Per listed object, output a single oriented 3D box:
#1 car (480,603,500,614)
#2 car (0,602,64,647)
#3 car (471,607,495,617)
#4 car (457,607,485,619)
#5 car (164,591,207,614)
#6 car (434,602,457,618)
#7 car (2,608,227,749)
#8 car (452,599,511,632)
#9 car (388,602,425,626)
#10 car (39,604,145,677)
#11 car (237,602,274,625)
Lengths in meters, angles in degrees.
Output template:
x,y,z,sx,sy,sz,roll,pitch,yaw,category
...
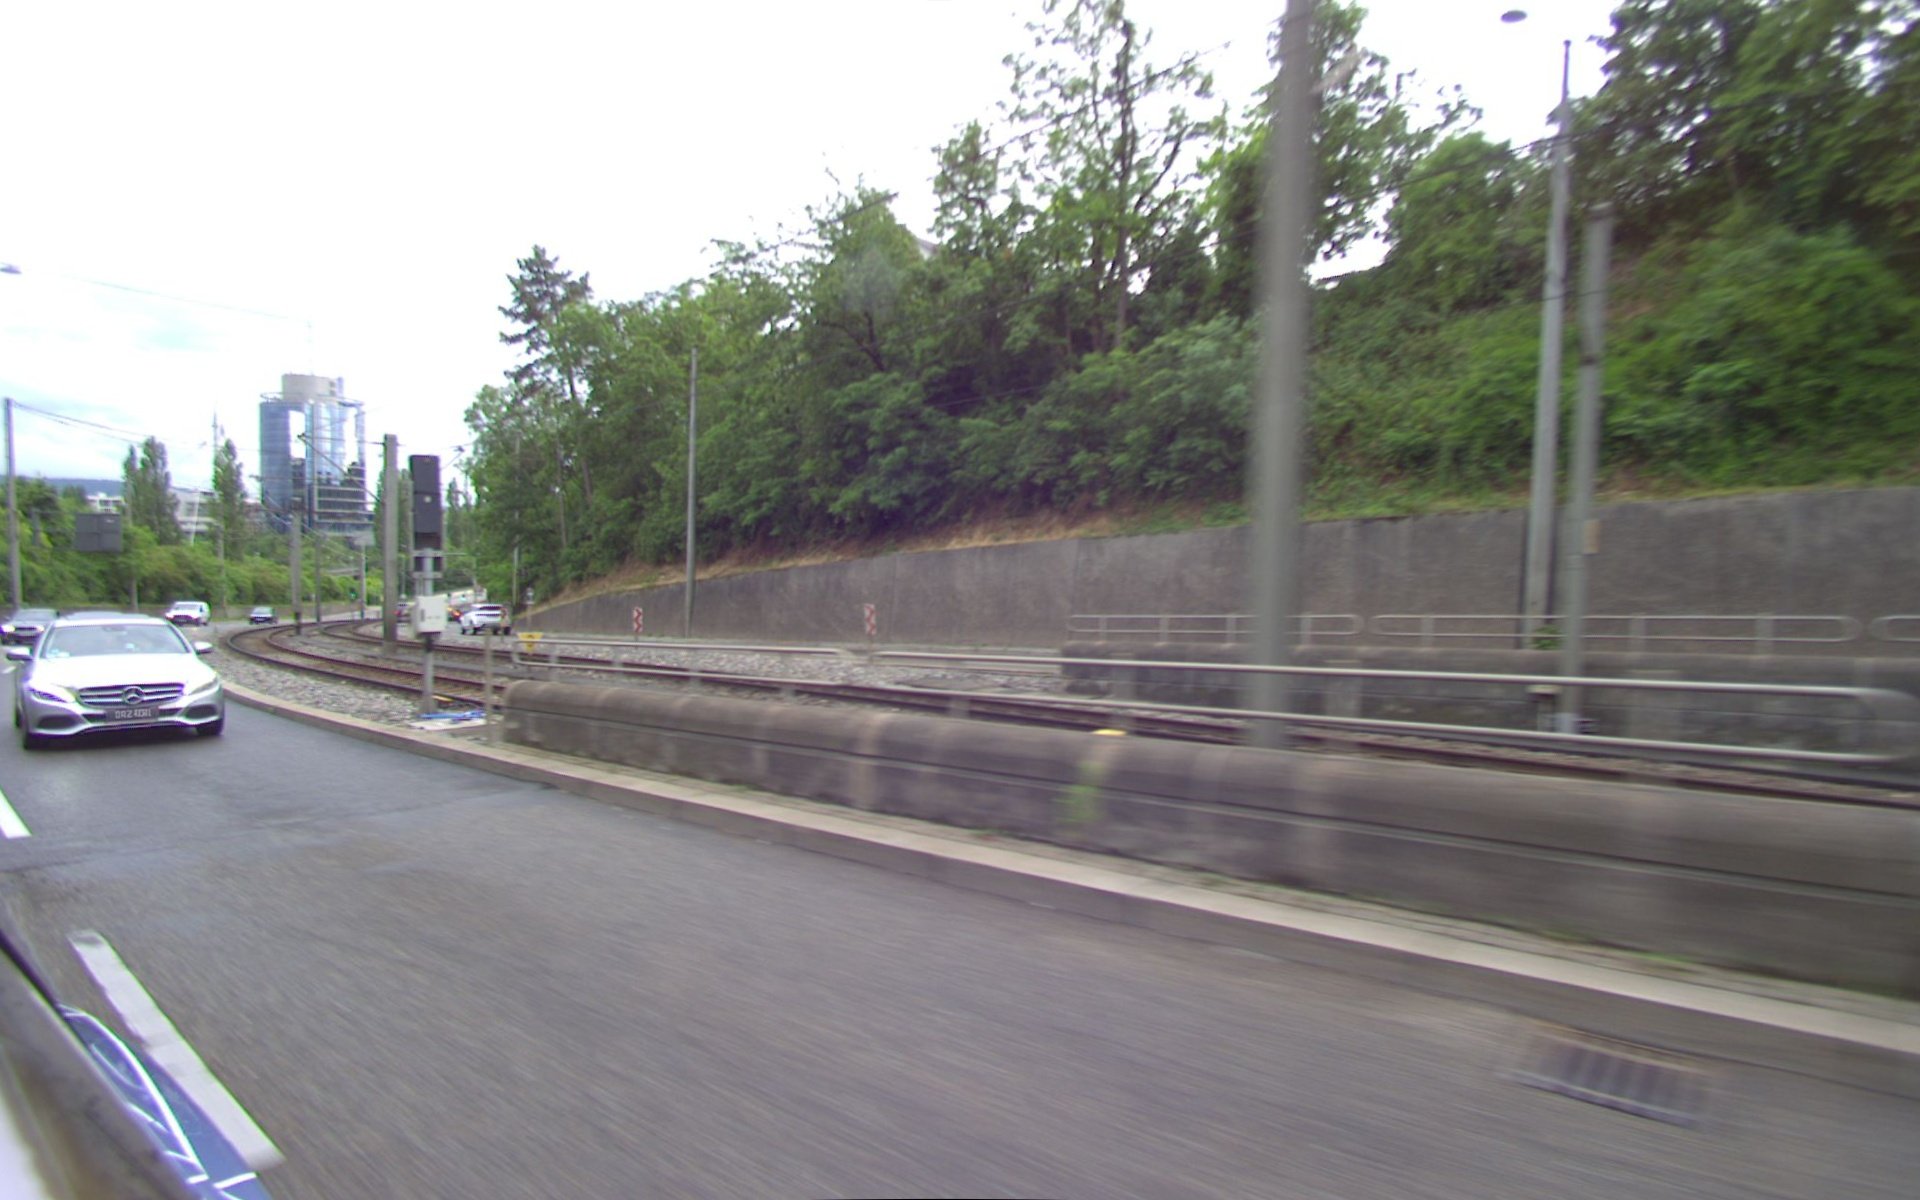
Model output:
x,y,z,sx,sy,sz,roll,pitch,yaw,category
-65.031,1.166,140.036,1.777,1.434,4.475,-1,0,-15,car
-37.679,0.953,41.058,1.783,1.521,4.007,-3,3,-39,car
-72.526,1.828,153.903,1.882,1.469,4.467,0,-1,-5,car
-57.983,1.571,120.022,1.869,1.392,4.461,0,-1,-10,car
-59.673,0.154,78.014,1.780,1.521,4.014,-2,3,-26,car
-48.840,0.984,96.042,1.799,1.482,4.428,2,-2,-26,car
-10.564,0.820,12.523,1.835,1.413,4.318,0,0,-44,car
-25.660,0.821,54.219,1.910,1.696,4.417,1,-1,-38,car
-44.337,1.141,81.153,2.202,1.845,5.154,0,-1,-24,car
-19.546,0.863,22.892,1.703,1.482,3.894,0,-1,-39,car
-63.024,1.197,90.639,1.965,2.029,4.509,0,-1,-25,car
